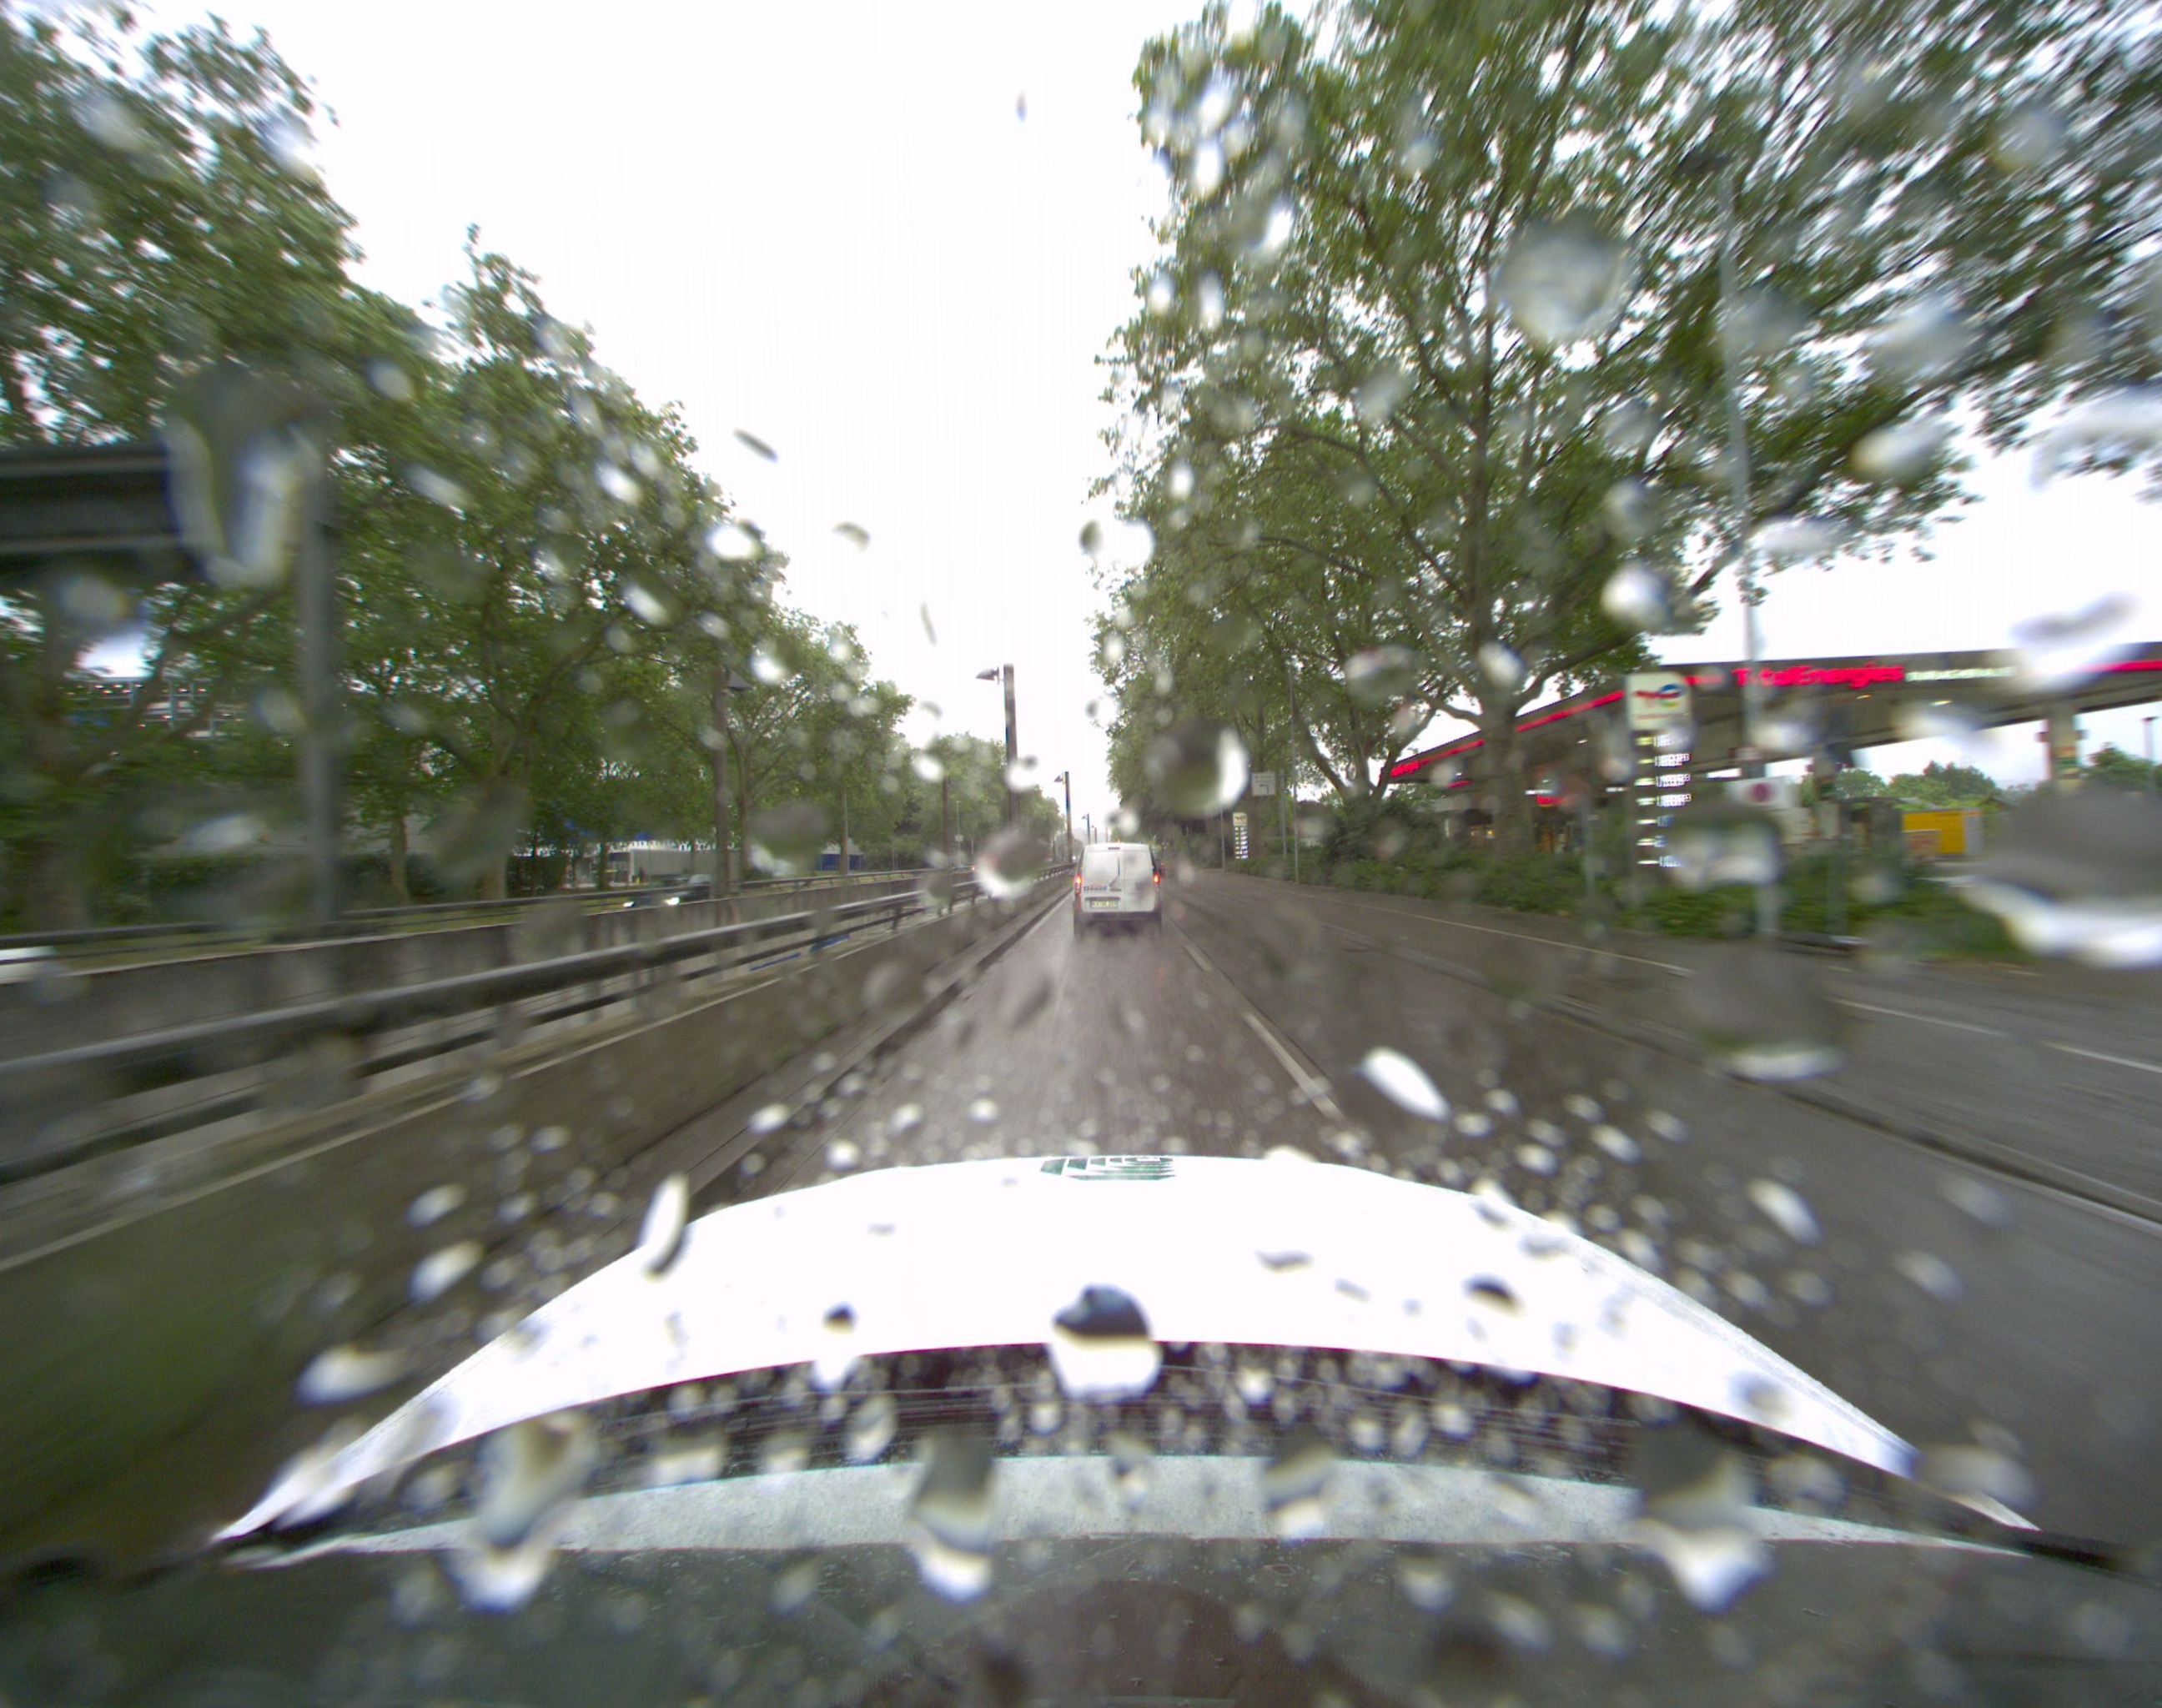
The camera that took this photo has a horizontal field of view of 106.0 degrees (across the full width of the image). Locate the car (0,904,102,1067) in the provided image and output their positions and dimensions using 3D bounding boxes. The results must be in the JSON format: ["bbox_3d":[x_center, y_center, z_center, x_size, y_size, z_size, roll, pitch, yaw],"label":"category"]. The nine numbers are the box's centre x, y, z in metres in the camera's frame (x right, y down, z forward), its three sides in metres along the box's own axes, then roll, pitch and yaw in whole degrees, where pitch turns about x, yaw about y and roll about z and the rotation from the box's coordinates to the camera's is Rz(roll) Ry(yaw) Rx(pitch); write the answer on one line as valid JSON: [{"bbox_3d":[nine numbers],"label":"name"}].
[{"bbox_3d":[-12.139,1.394,6.943,1.987,1.632,4.580,-2,-1,1],"label":"car"}]

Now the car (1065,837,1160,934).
[{"bbox_3d":[0.650,0.635,17.208,1.749,1.778,4.001,-1,-1,2],"label":"car"}]

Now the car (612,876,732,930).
[{"bbox_3d":[-14.070,1.635,28.286,1.899,1.571,4.003,-2,0,3],"label":"car"}]

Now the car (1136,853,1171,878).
[{"bbox_3d":[5.086,0.805,57.515,1.987,1.585,3.998,-3,-1,-1],"label":"car"}]

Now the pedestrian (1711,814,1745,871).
[{"bbox_3d":[19.999,-0.346,25.169,0.549,1.725,0.729,-3,-1,21],"label":"pedestrian"}]
